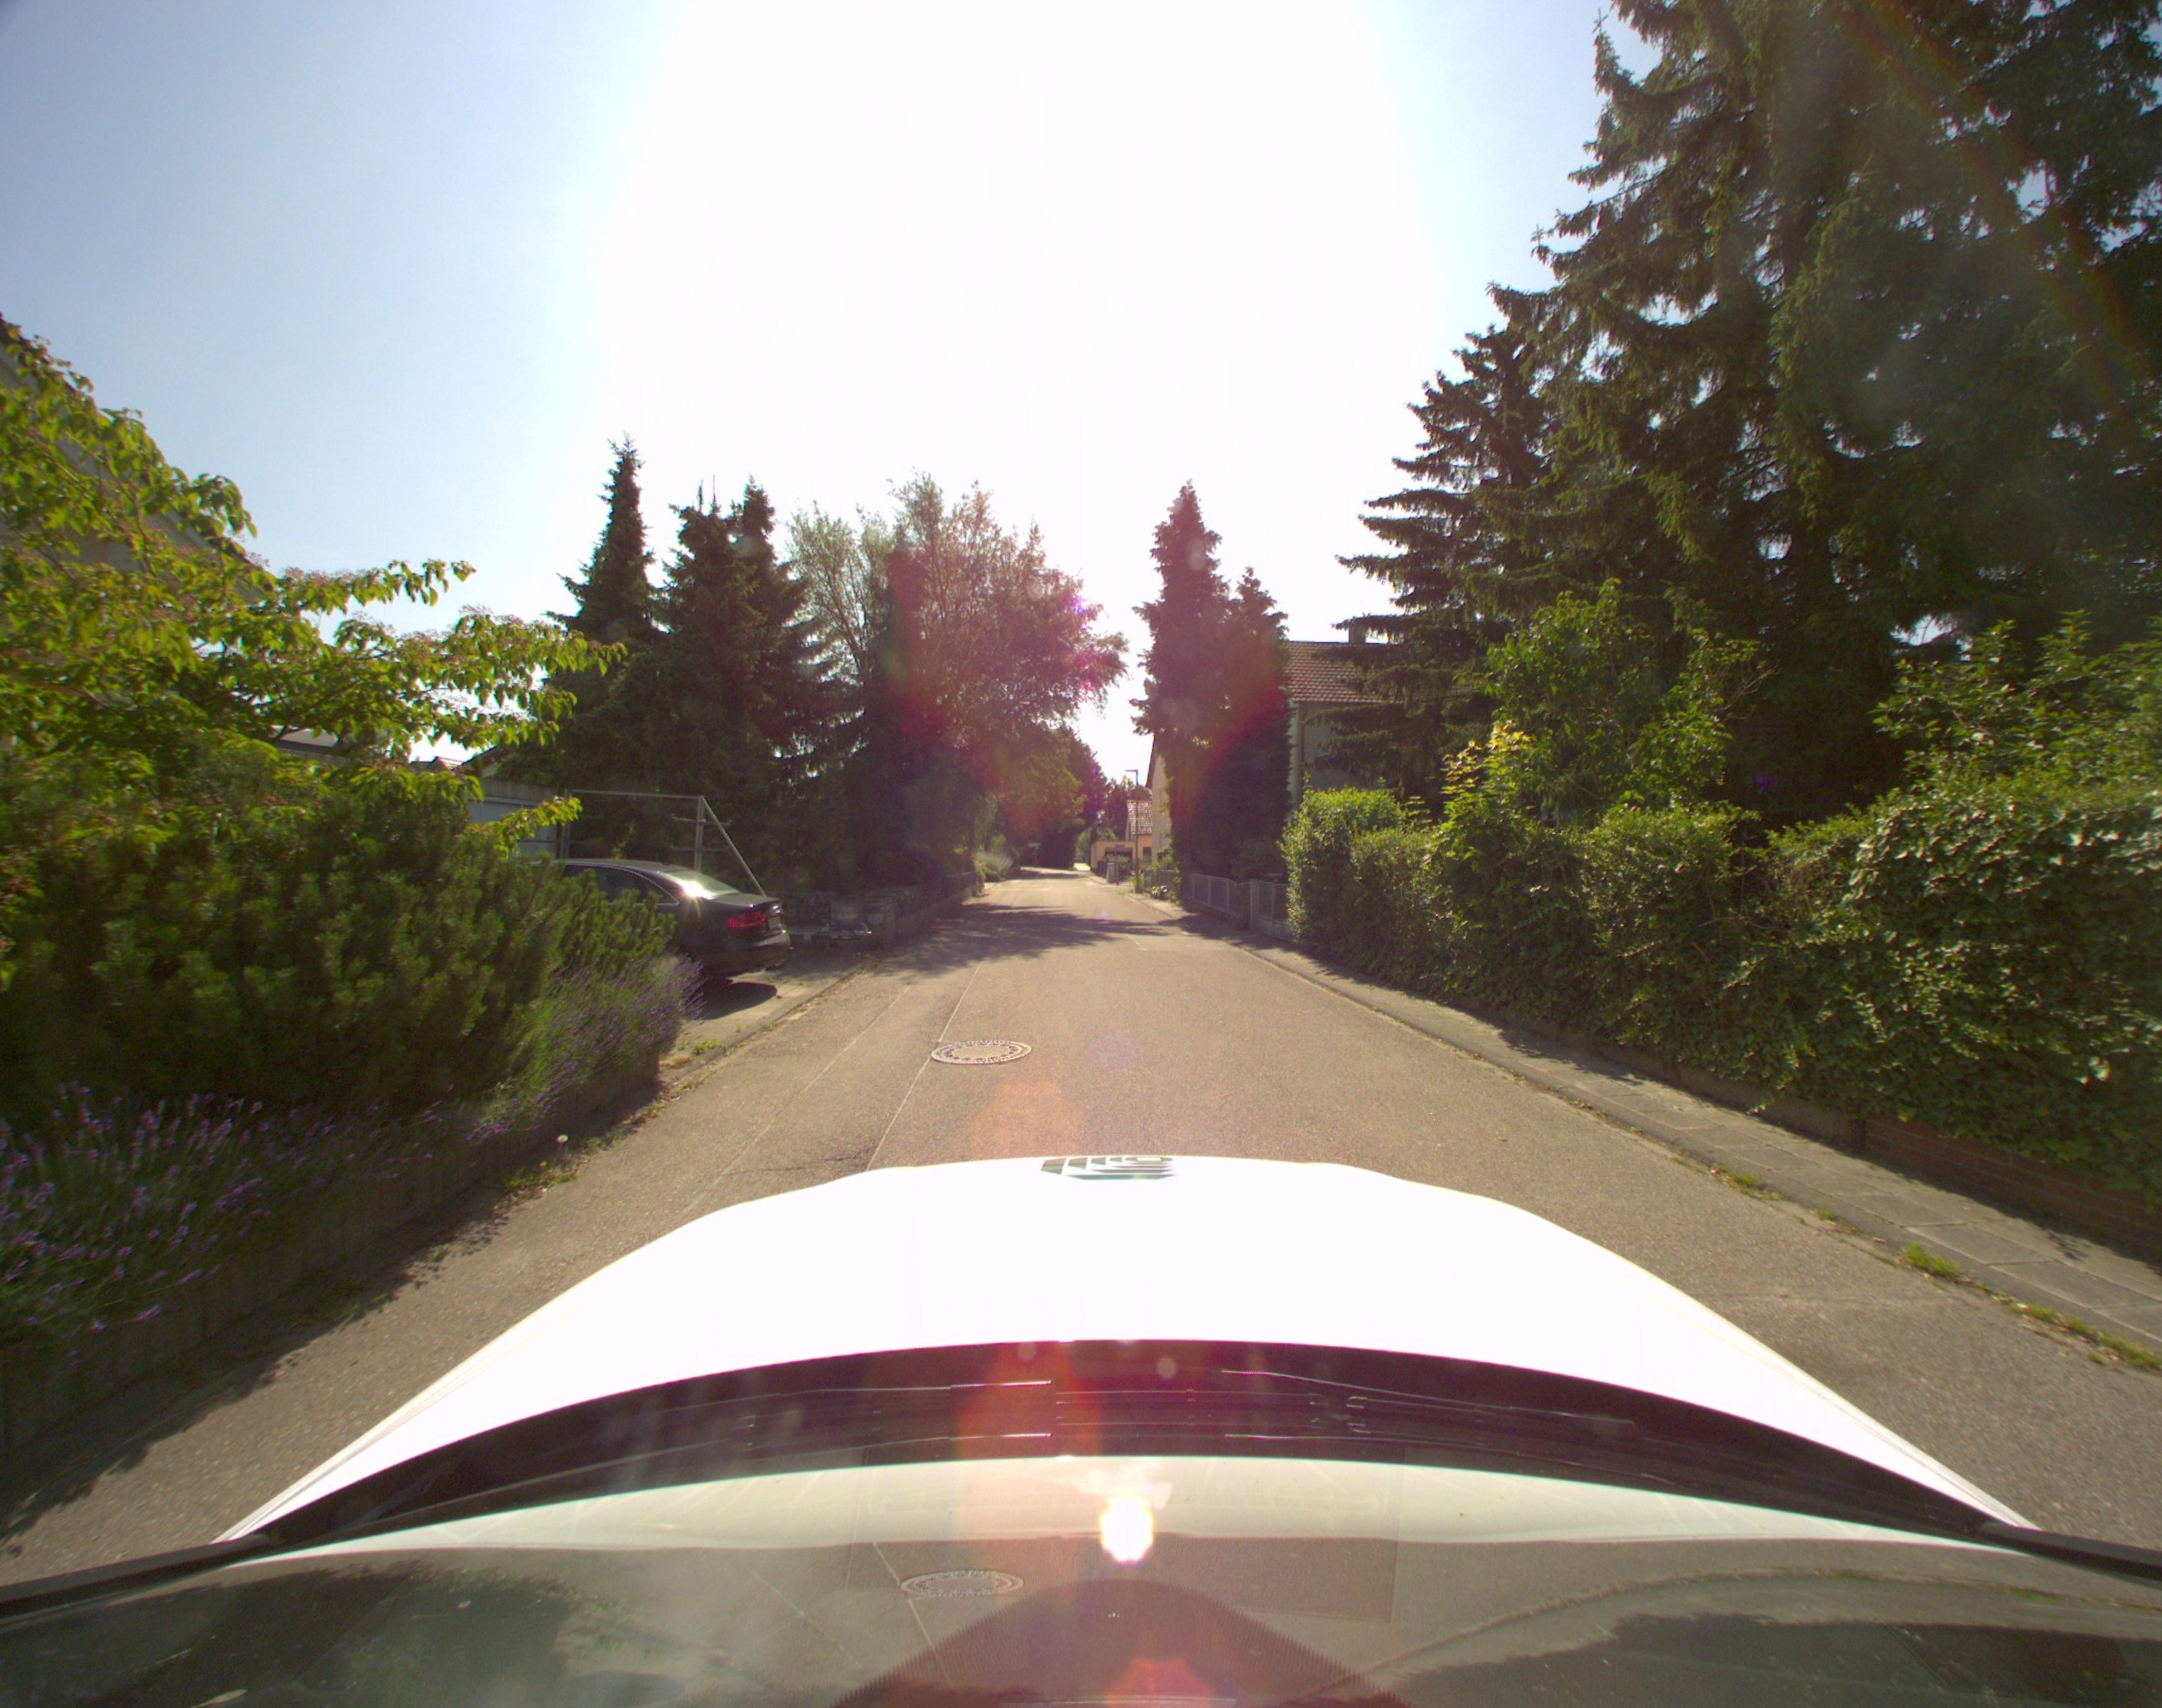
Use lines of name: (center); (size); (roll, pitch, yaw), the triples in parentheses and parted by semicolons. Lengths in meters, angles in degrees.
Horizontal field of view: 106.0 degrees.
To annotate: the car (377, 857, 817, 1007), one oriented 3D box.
car: (-5.043, 0.774, 8.958); (3.729, 1.445, 1.753); (0, 0, -5)
